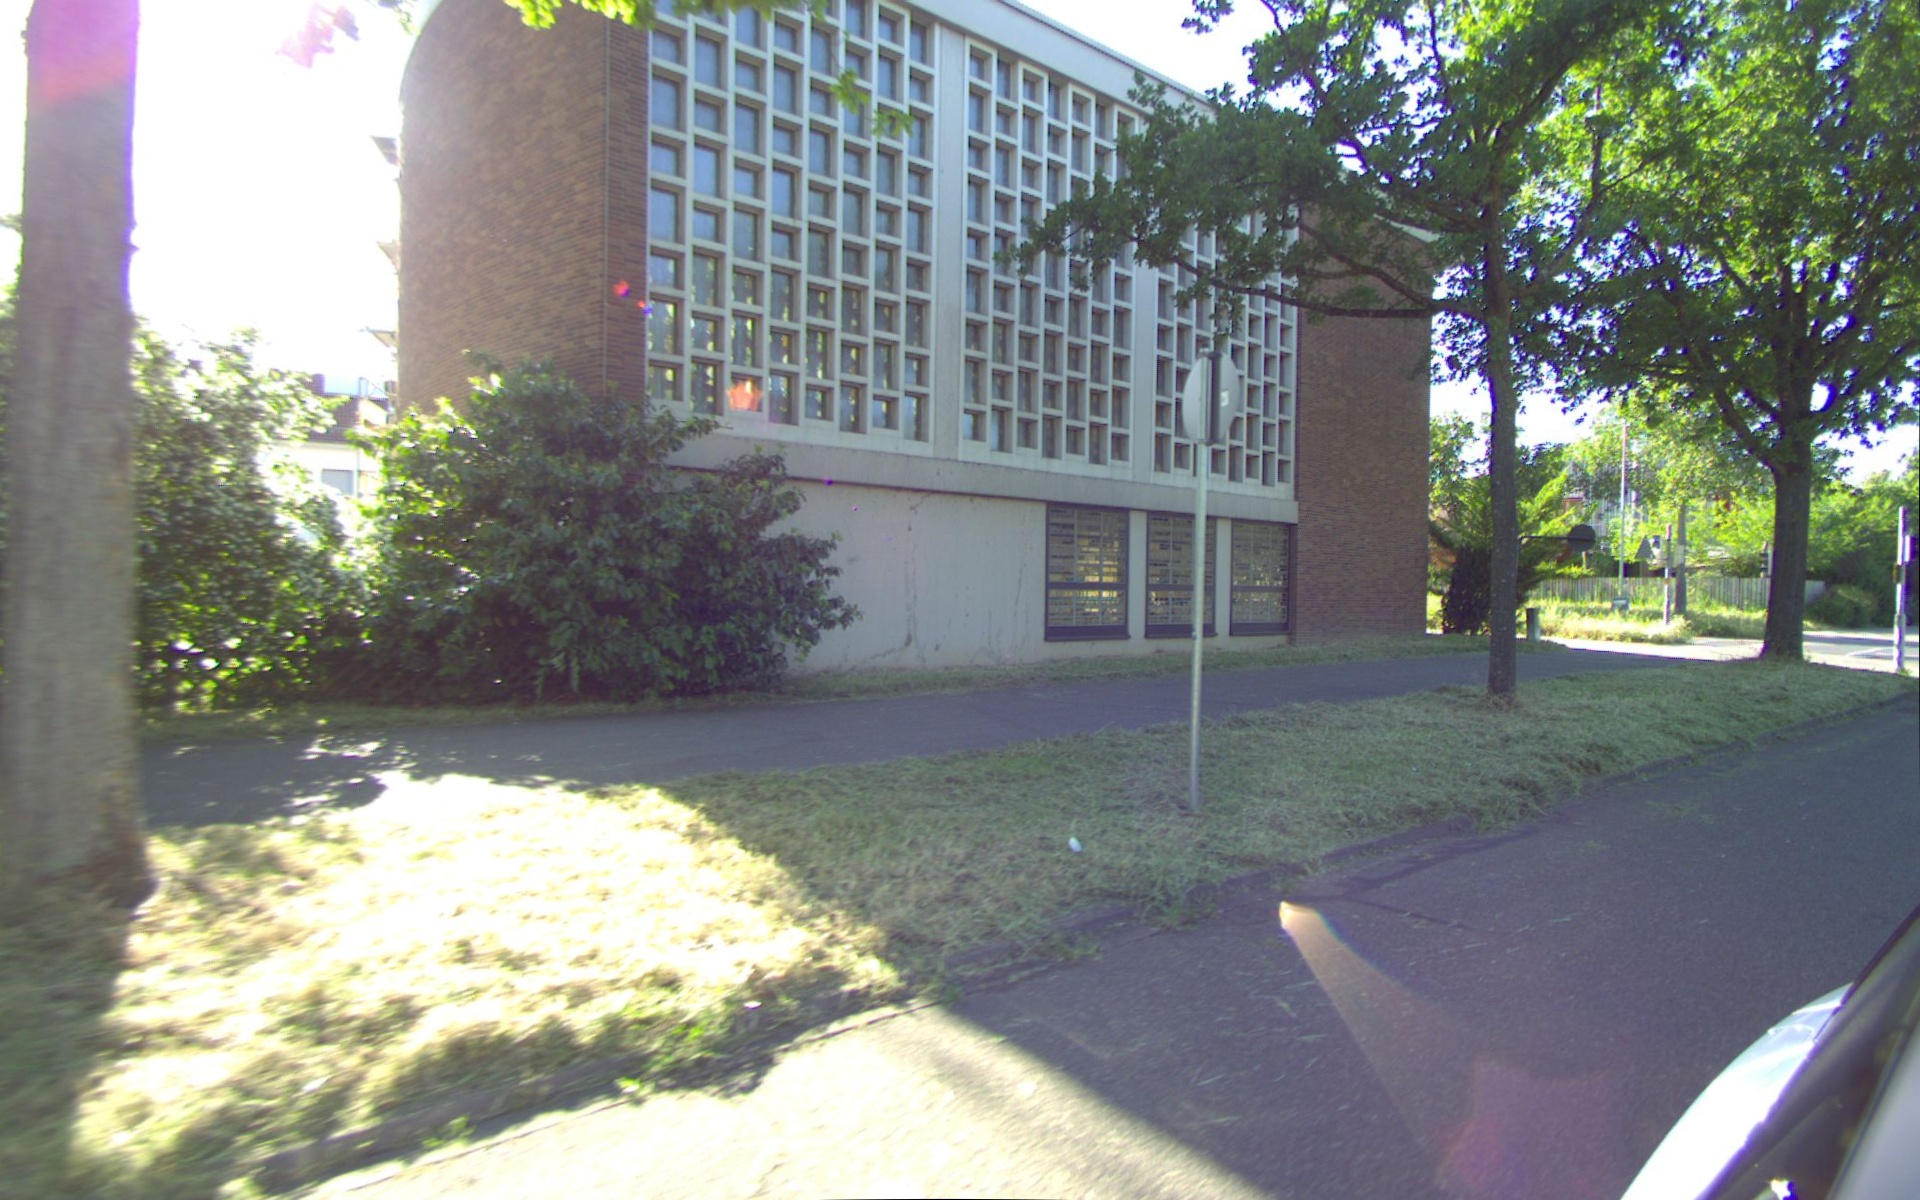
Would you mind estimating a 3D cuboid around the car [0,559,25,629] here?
[{"bbox_3d":[-22.562,-0.112,21.262,3.921,1.482,2.002,-1,3,-31],"label":"car"}]
